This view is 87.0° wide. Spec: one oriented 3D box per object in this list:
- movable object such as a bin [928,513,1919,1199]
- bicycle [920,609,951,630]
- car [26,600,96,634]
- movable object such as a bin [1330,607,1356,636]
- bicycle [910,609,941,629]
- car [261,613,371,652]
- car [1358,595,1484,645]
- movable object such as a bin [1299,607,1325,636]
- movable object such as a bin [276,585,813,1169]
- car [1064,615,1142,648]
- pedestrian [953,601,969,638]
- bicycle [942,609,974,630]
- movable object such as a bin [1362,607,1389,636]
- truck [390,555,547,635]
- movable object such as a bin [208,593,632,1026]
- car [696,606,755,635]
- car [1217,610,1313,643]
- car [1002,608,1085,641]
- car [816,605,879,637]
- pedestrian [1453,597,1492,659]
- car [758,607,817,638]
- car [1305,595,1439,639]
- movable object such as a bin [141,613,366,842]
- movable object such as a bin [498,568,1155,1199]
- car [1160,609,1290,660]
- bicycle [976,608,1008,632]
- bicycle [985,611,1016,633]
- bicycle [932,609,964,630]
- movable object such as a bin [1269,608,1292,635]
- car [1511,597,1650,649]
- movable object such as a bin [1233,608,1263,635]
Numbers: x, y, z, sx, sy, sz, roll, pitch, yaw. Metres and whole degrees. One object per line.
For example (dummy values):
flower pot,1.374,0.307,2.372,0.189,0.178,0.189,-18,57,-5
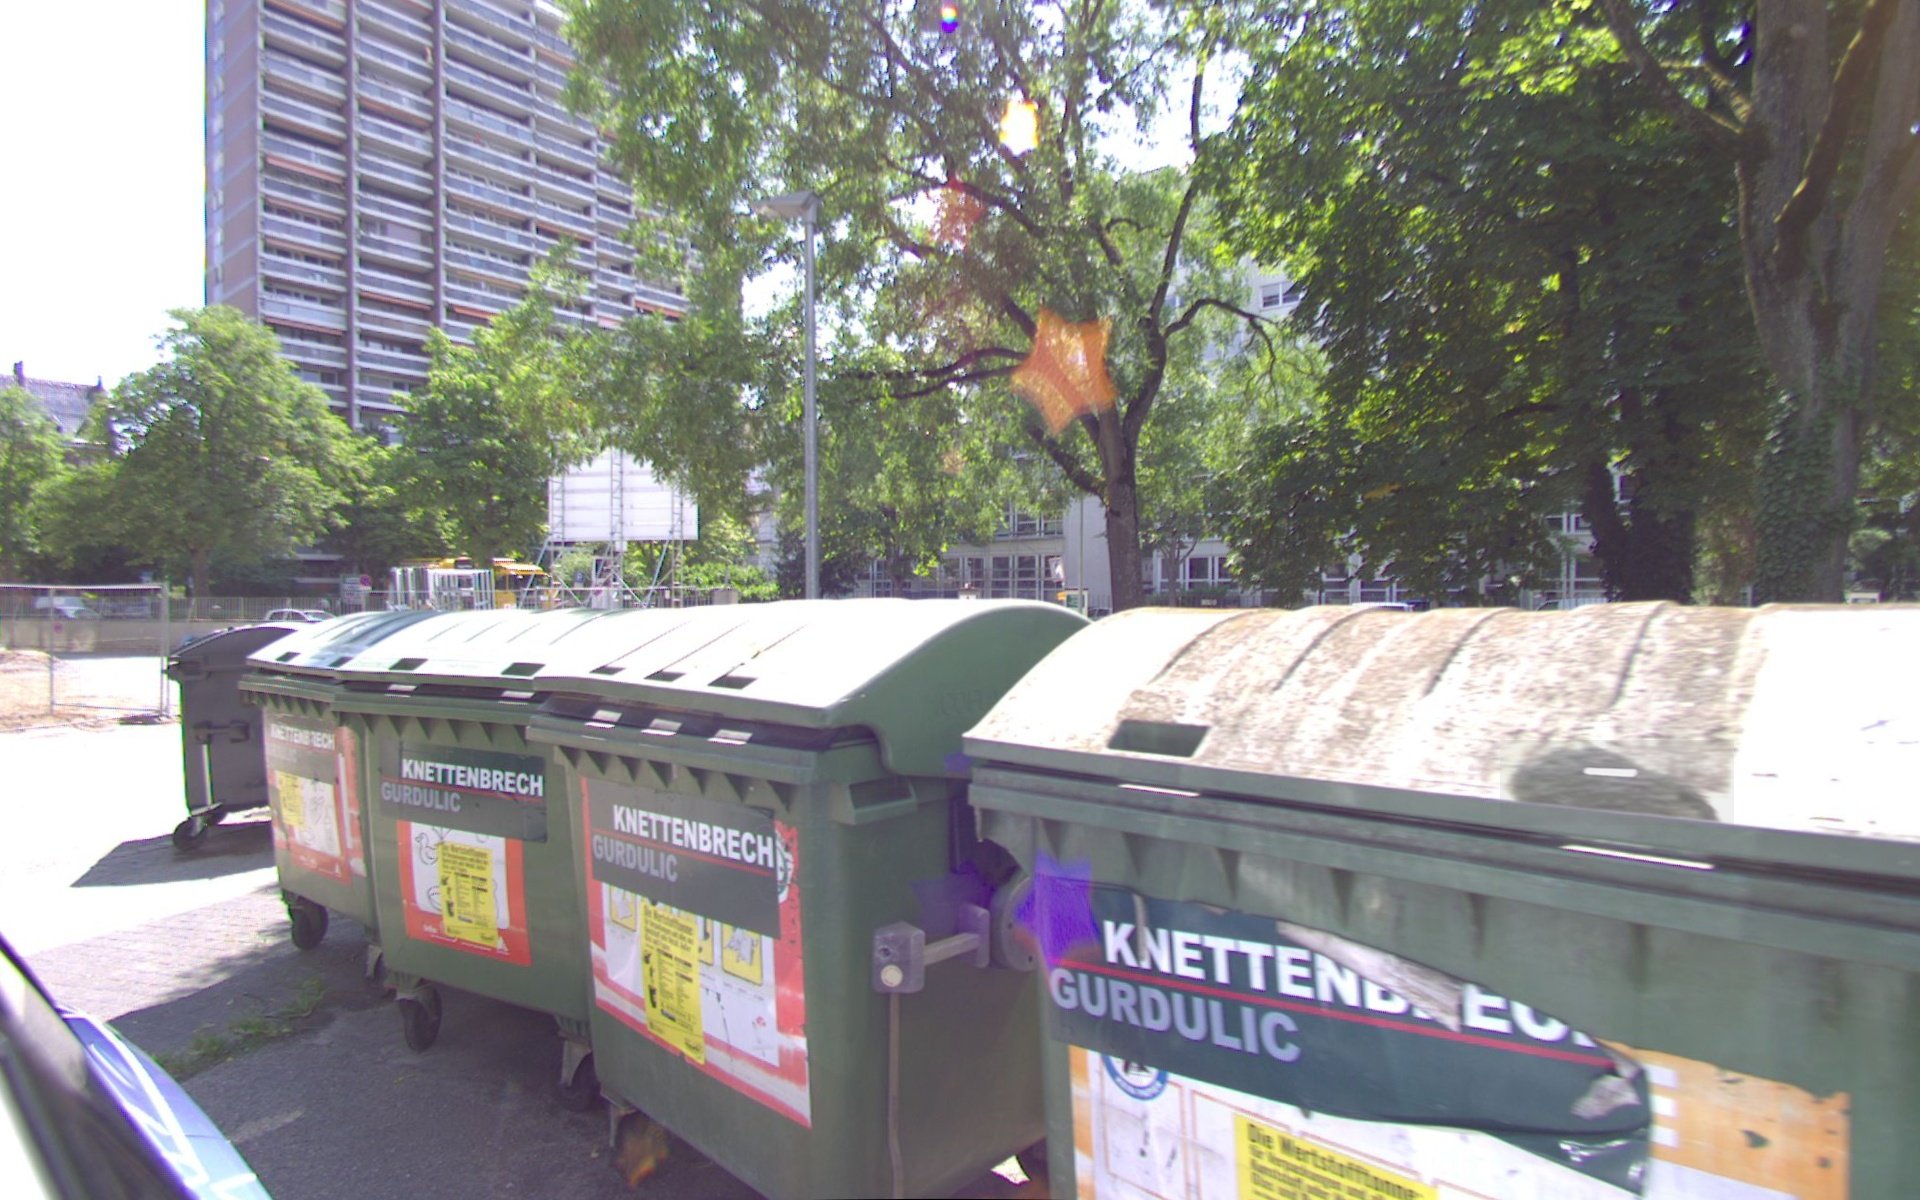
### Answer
movable object such as a bin,0.815,0.684,1.426,1.409,1.490,1.033,-1,-1,42
bicycle,-1.383,1.078,56.761,0.569,1.139,1.916,-1,-1,44
car,-55.685,1.008,62.755,1.965,2.029,4.013,0,0,-22
movable object such as a bin,18.788,1.041,49.710,1.173,1.409,1.030,0,-1,21
bicycle,-1.952,1.065,57.250,0.569,1.139,1.900,-1,-1,44
car,-24.473,1.211,38.480,3.553,1.451,1.613,0,-1,17
car,19.755,0.816,43.587,1.966,2.029,4.644,1,-1,-32
movable object such as a bin,17.443,1.047,50.119,1.173,1.409,1.030,0,-1,21
movable object such as a bin,-1.368,0.716,3.416,1.355,1.490,1.085,0,-1,31
car,6.653,1.442,47.345,1.725,1.473,3.550,1,-1,-33
pedestrian,0.045,0.979,51.927,0.574,1.889,0.709,0,-1,27
bicycle,-0.098,1.081,55.533,0.569,1.139,1.916,-1,-1,44
movable object such as a bin,20.240,1.036,49.263,1.173,1.409,1.030,0,-1,21
truck,-26.809,-0.239,54.971,9.705,4.036,2.723,0,0,30
movable object such as a bin,-2.323,0.731,4.384,1.323,1.490,1.192,0,-1,38
car,-11.950,1.024,51.402,1.602,1.383,4.034,0,0,-33
car,13.617,1.158,45.385,1.686,1.424,3.992,1,-1,-33
car,3.906,1.121,48.055,1.725,1.481,4.209,1,-1,-33
car,-5.566,1.016,49.886,1.622,1.528,3.586,0,-1,-33
pedestrian,13.194,0.705,26.067,0.736,1.579,0.695,0,0,11
car,-8.676,1.077,50.598,1.788,1.474,4.036,0,0,-27
car,15.507,0.642,38.301,4.352,1.619,1.994,0,0,11
movable object such as a bin,-4.798,0.795,6.997,1.097,1.404,1.164,0,-1,-26
movable object such as a bin,-0.337,0.701,2.486,1.261,1.490,1.033,-1,-1,42
car,7.986,1.053,30.756,3.684,1.468,1.584,0,-3,10
bicycle,1.737,1.061,54.682,0.569,1.247,1.916,-1,-1,44
bicycle,2.185,1.181,54.174,0.569,1.139,1.916,-1,-1,44
bicycle,-0.663,1.088,56.086,0.569,1.139,1.916,-1,-1,44
movable object such as a bin,15.943,1.083,50.370,1.067,1.340,0.967,0,-1,15
car,25.889,0.925,42.422,1.965,2.029,4.646,0,-1,-25
movable object such as a bin,14.416,1.087,50.686,1.438,1.340,1.121,0,-1,15
